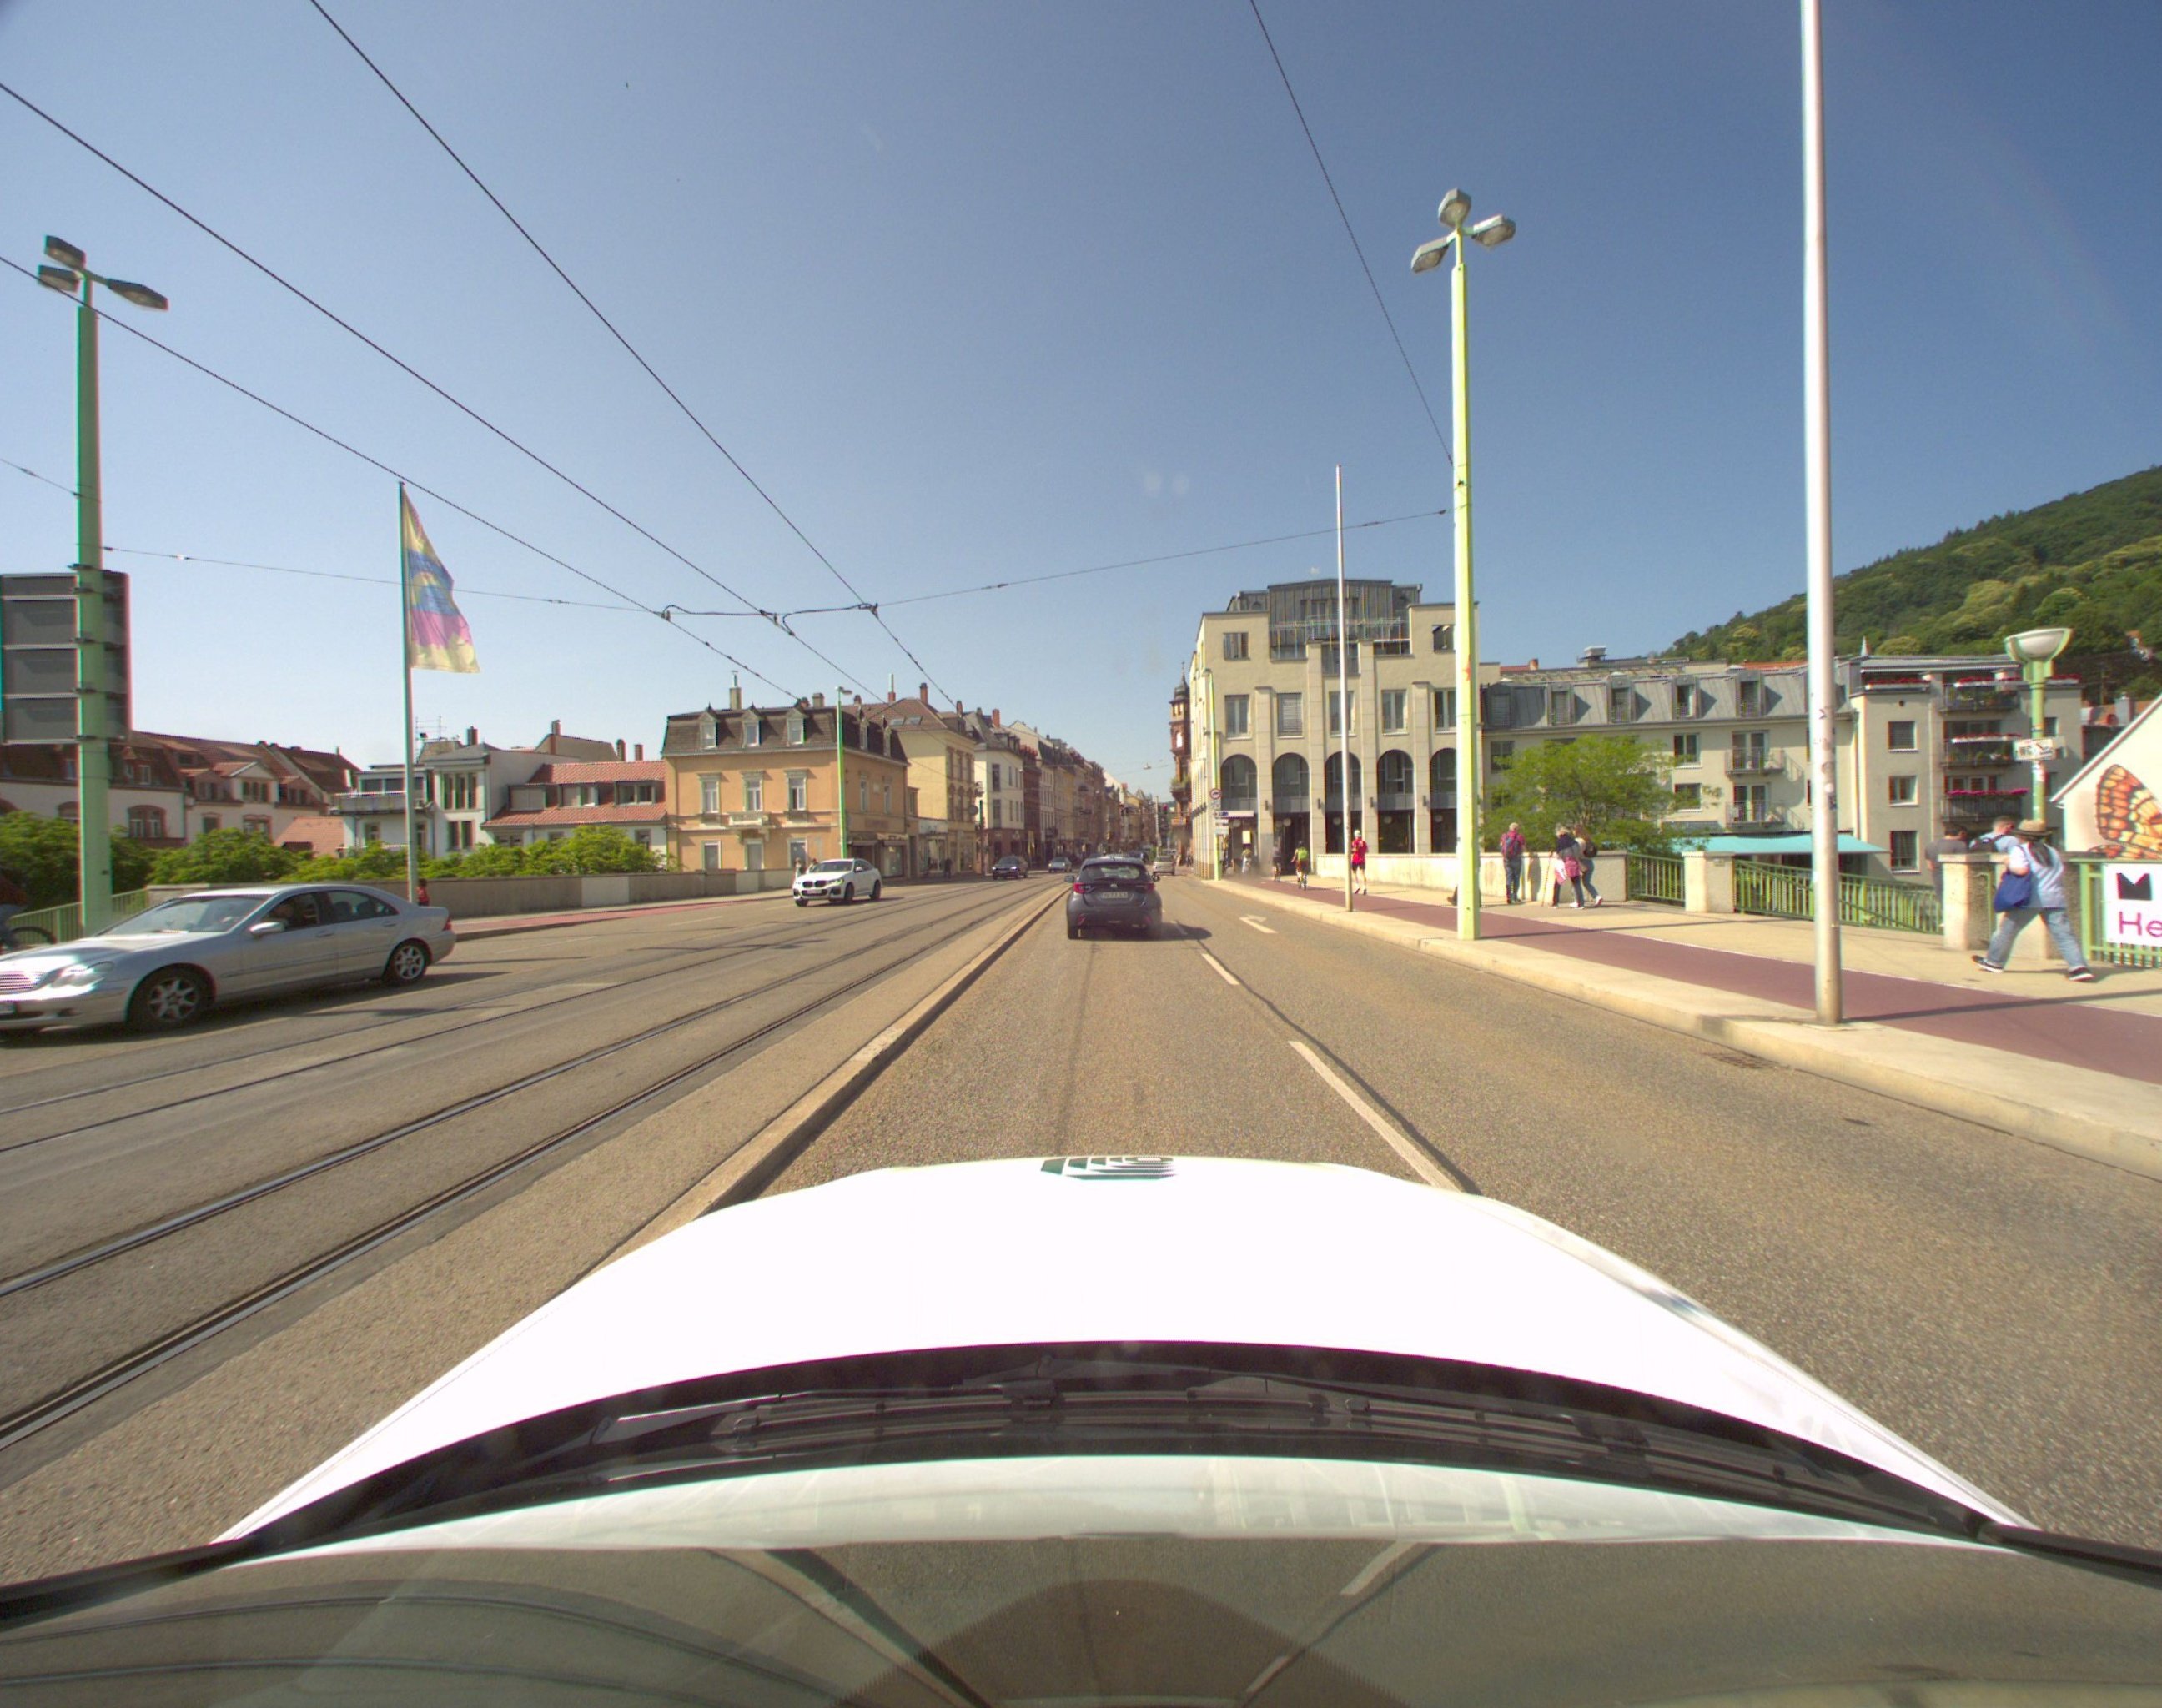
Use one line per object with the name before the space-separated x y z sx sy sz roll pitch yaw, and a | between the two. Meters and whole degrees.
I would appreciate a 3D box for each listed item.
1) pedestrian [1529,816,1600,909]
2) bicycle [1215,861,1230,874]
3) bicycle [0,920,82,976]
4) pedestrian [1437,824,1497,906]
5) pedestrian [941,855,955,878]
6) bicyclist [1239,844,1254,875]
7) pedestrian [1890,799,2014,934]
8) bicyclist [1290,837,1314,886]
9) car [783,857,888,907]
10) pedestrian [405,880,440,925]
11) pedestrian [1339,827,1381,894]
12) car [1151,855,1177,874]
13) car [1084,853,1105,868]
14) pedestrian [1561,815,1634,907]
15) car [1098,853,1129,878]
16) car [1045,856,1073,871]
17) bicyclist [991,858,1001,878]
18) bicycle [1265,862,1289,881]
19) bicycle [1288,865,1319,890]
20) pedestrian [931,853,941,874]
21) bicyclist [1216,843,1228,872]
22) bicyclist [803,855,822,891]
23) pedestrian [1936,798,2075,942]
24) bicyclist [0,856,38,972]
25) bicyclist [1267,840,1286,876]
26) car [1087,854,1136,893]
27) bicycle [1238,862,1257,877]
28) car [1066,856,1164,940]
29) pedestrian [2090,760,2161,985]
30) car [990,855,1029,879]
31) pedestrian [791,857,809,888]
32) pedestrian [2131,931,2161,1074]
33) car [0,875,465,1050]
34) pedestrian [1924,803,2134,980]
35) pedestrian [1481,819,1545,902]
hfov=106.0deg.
pedestrian | 9.670 0.164 16.325 0.737 1.777 1.016 -3 0 0
bicycle | 9.090 0.853 52.323 0.592 0.765 1.866 -2 0 -1
bicycle | -15.822 1.394 11.758 0.618 0.716 1.732 0 1 2
pedestrian | 8.481 0.230 17.947 0.752 1.718 1.073 -3 0 1
pedestrian | -10.085 0.949 61.908 0.757 1.654 0.713 3 0 10
bicyclist | 8.916 0.278 43.818 0.585 1.650 0.702 -2 0 -1
pedestrian | 11.765 0.155 11.015 1.016 1.718 0.737 -3 0 -19
bicyclist | 7.563 0.254 27.918 0.602 1.650 0.702 -2 0 2
car | -8.792 0.950 29.612 1.984 1.586 4.659 -2 0 5
pedestrian | -17.706 1.293 21.889 0.409 1.146 0.547 3 0 15
pedestrian | 8.288 0.185 24.247 0.808 1.925 1.128 -2 0 1
car | 6.435 0.797 63.220 1.699 1.466 4.327 0 0 1
car | 1.669 0.782 98.884 1.982 1.773 4.009 -1 0 8
pedestrian | 10.400 0.137 16.439 0.737 1.746 1.015 -3 0 -1
car | 2.009 0.682 51.640 1.890 1.530 4.001 0 0 1
car | -2.054 0.893 77.430 1.982 1.432 4.009 -1 0 8
bicyclist | -7.211 1.161 69.159 0.701 1.650 0.623 0 1 10
bicycle | 8.627 0.754 35.908 0.592 0.765 1.830 -2 0 -1
bicycle | 7.585 0.782 27.869 0.591 0.765 1.867 -2 0 2
pedestrian | -11.571 0.751 65.094 0.646 1.602 0.566 3 2 2
bicyclist | 9.065 0.235 52.289 0.585 1.820 0.702 -2 0 -1
bicyclist | -12.569 0.890 38.099 0.623 1.650 0.623 0 1 10
pedestrian | 11.604 0.185 10.236 1.014 1.718 0.738 -2 0 -14
bicyclist | -15.816 0.859 11.785 0.625 1.650 0.622 0 1 2
bicyclist | 8.611 0.170 35.886 0.585 1.559 0.702 -2 0 -1
car | 1.240 0.753 33.484 1.890 1.530 4.001 0 0 1
bicycle | 8.942 0.833 43.804 0.592 0.765 1.866 -2 0 -1
car | 0.647 0.773 16.168 1.713 1.473 3.659 0 0 1
pedestrian | 9.533 0.140 6.725 0.922 1.897 1.137 -2 0 1
car | -4.971 0.897 57.009 1.784 1.545 3.930 -2 0 8
pedestrian | -14.839 0.965 42.986 0.646 1.602 0.566 3 2 2
pedestrian | 14.316 1.881 10.122 1.200 1.777 0.980 -3 0 -1
car | -9.790 1.041 9.520 1.725 1.460 4.375 -2 0 1
pedestrian | 8.911 0.335 7.710 0.825 1.530 0.934 -3 0 5
pedestrian | 9.770 0.145 18.422 1.017 1.802 0.735 -3 0 -25
